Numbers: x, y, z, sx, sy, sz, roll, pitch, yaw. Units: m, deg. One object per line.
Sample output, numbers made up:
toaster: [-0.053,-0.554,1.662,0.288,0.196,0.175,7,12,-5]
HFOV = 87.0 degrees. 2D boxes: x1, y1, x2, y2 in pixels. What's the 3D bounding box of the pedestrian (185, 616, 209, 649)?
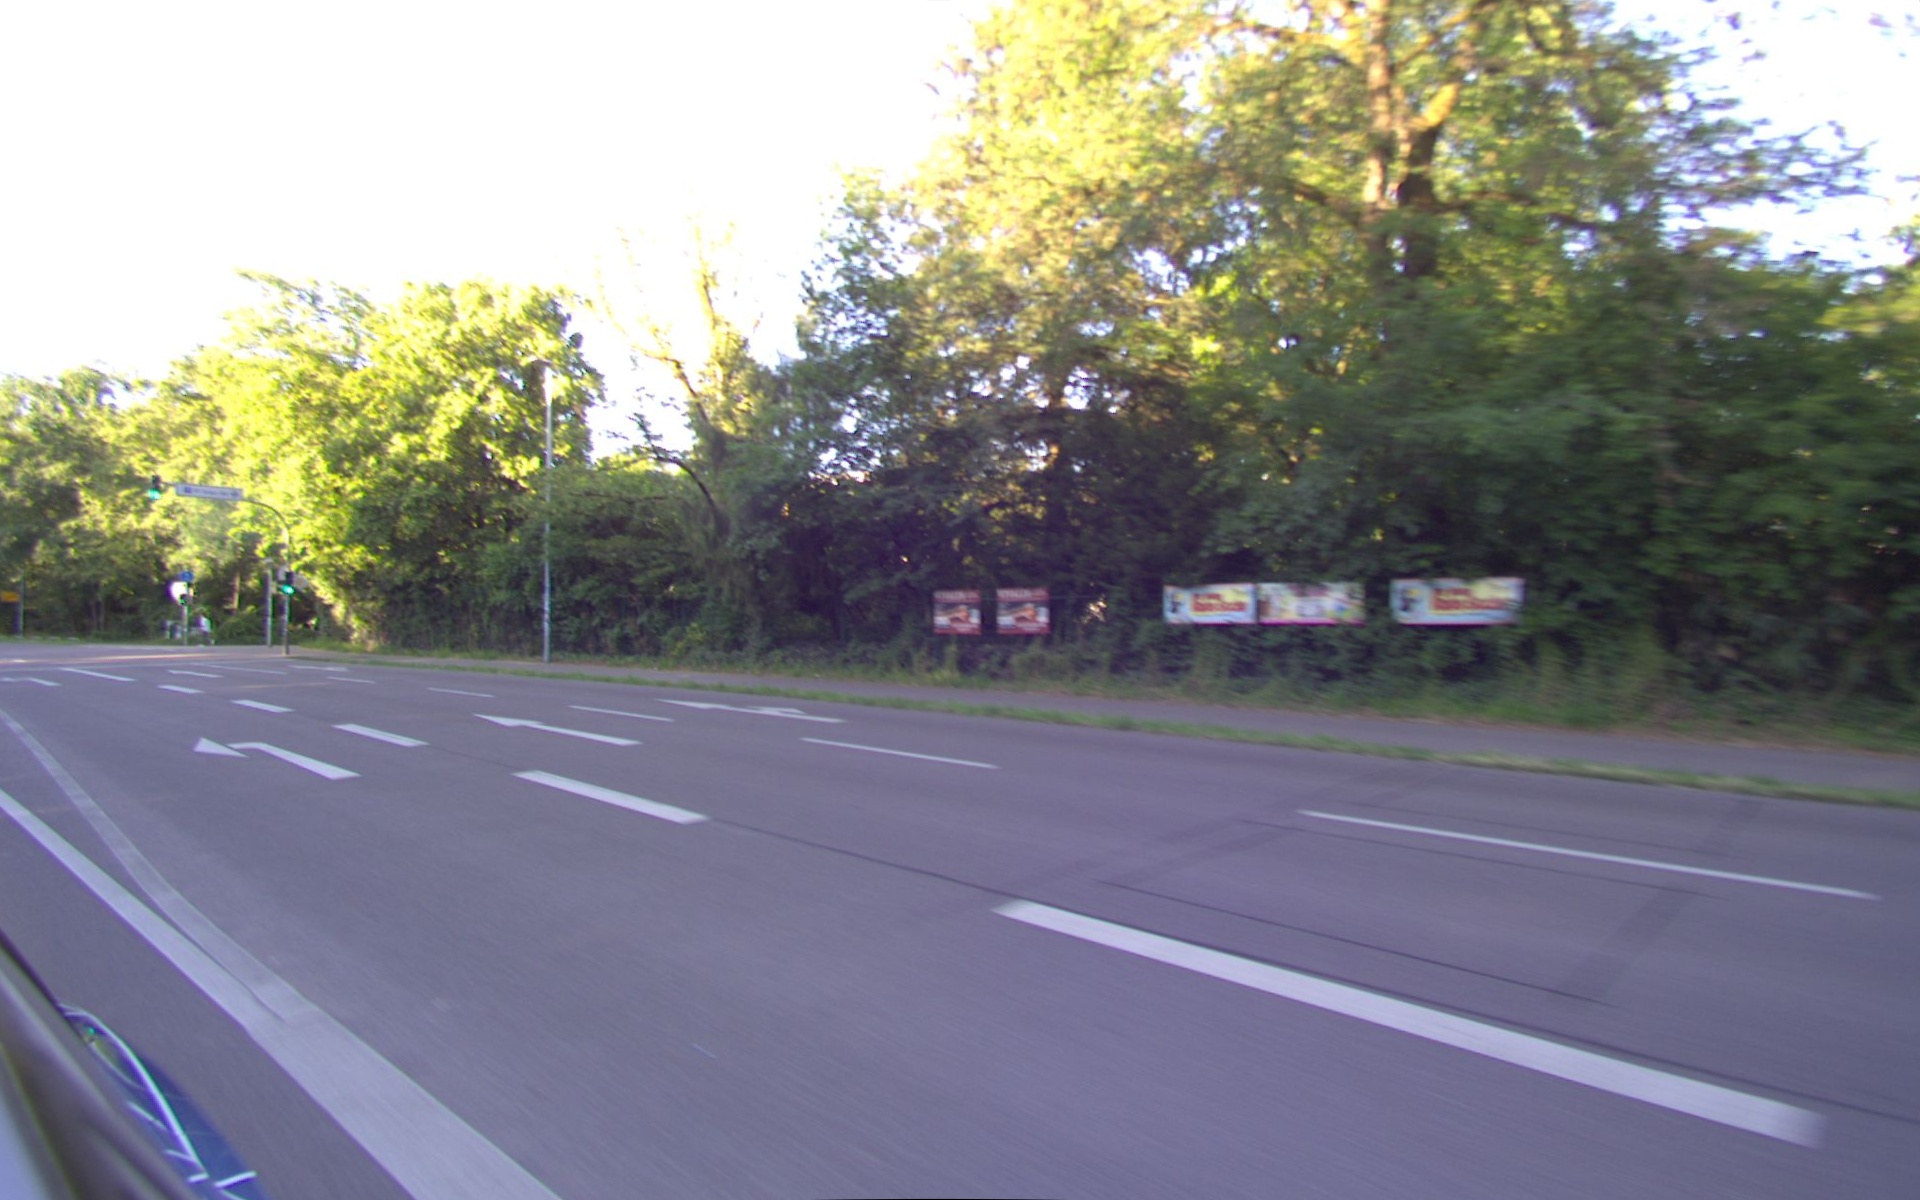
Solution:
pedestrian: [-40.163,1.684,53.273,0.641,1.724,0.819,0,-1,0]
